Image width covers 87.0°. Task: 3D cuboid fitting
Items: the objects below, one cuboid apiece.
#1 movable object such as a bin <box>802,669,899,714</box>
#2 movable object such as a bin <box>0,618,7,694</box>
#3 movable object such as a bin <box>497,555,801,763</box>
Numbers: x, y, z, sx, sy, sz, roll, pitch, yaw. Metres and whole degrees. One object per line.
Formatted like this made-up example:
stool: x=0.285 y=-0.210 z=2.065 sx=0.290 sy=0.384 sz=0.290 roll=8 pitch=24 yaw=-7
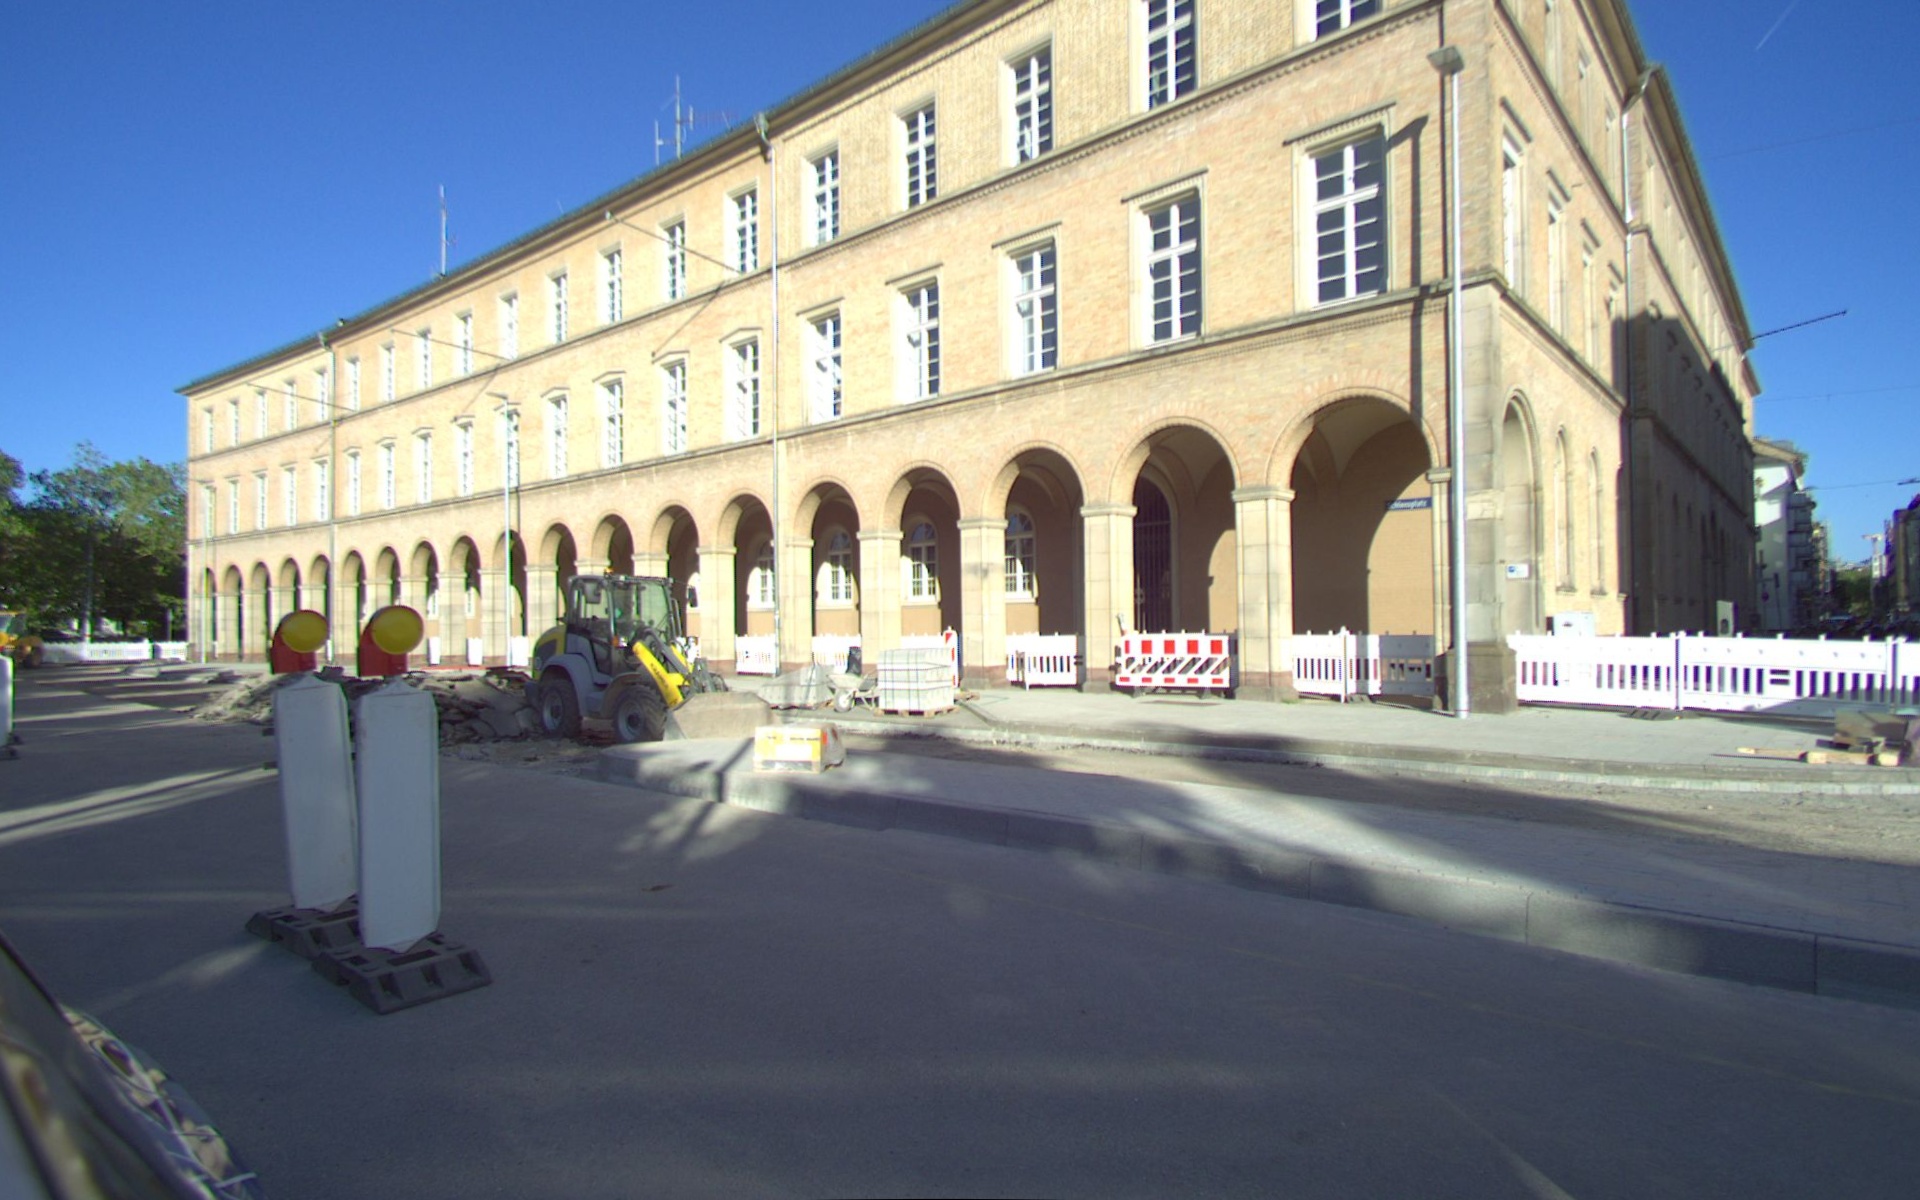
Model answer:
movable object such as a bin: x=-1.913 y=1.591 z=17.725 sx=1.239 sy=0.703 sz=1.176 roll=-2 pitch=-3 yaw=38
movable object such as a bin: x=-28.151 y=1.531 z=27.151 sx=2.100 sy=2.093 sz=3.213 roll=-2 pitch=-3 yaw=27
movable object such as a bin: x=-4.434 y=0.787 z=14.140 sx=4.529 sy=2.472 sz=1.774 roll=-2 pitch=-3 yaw=37
